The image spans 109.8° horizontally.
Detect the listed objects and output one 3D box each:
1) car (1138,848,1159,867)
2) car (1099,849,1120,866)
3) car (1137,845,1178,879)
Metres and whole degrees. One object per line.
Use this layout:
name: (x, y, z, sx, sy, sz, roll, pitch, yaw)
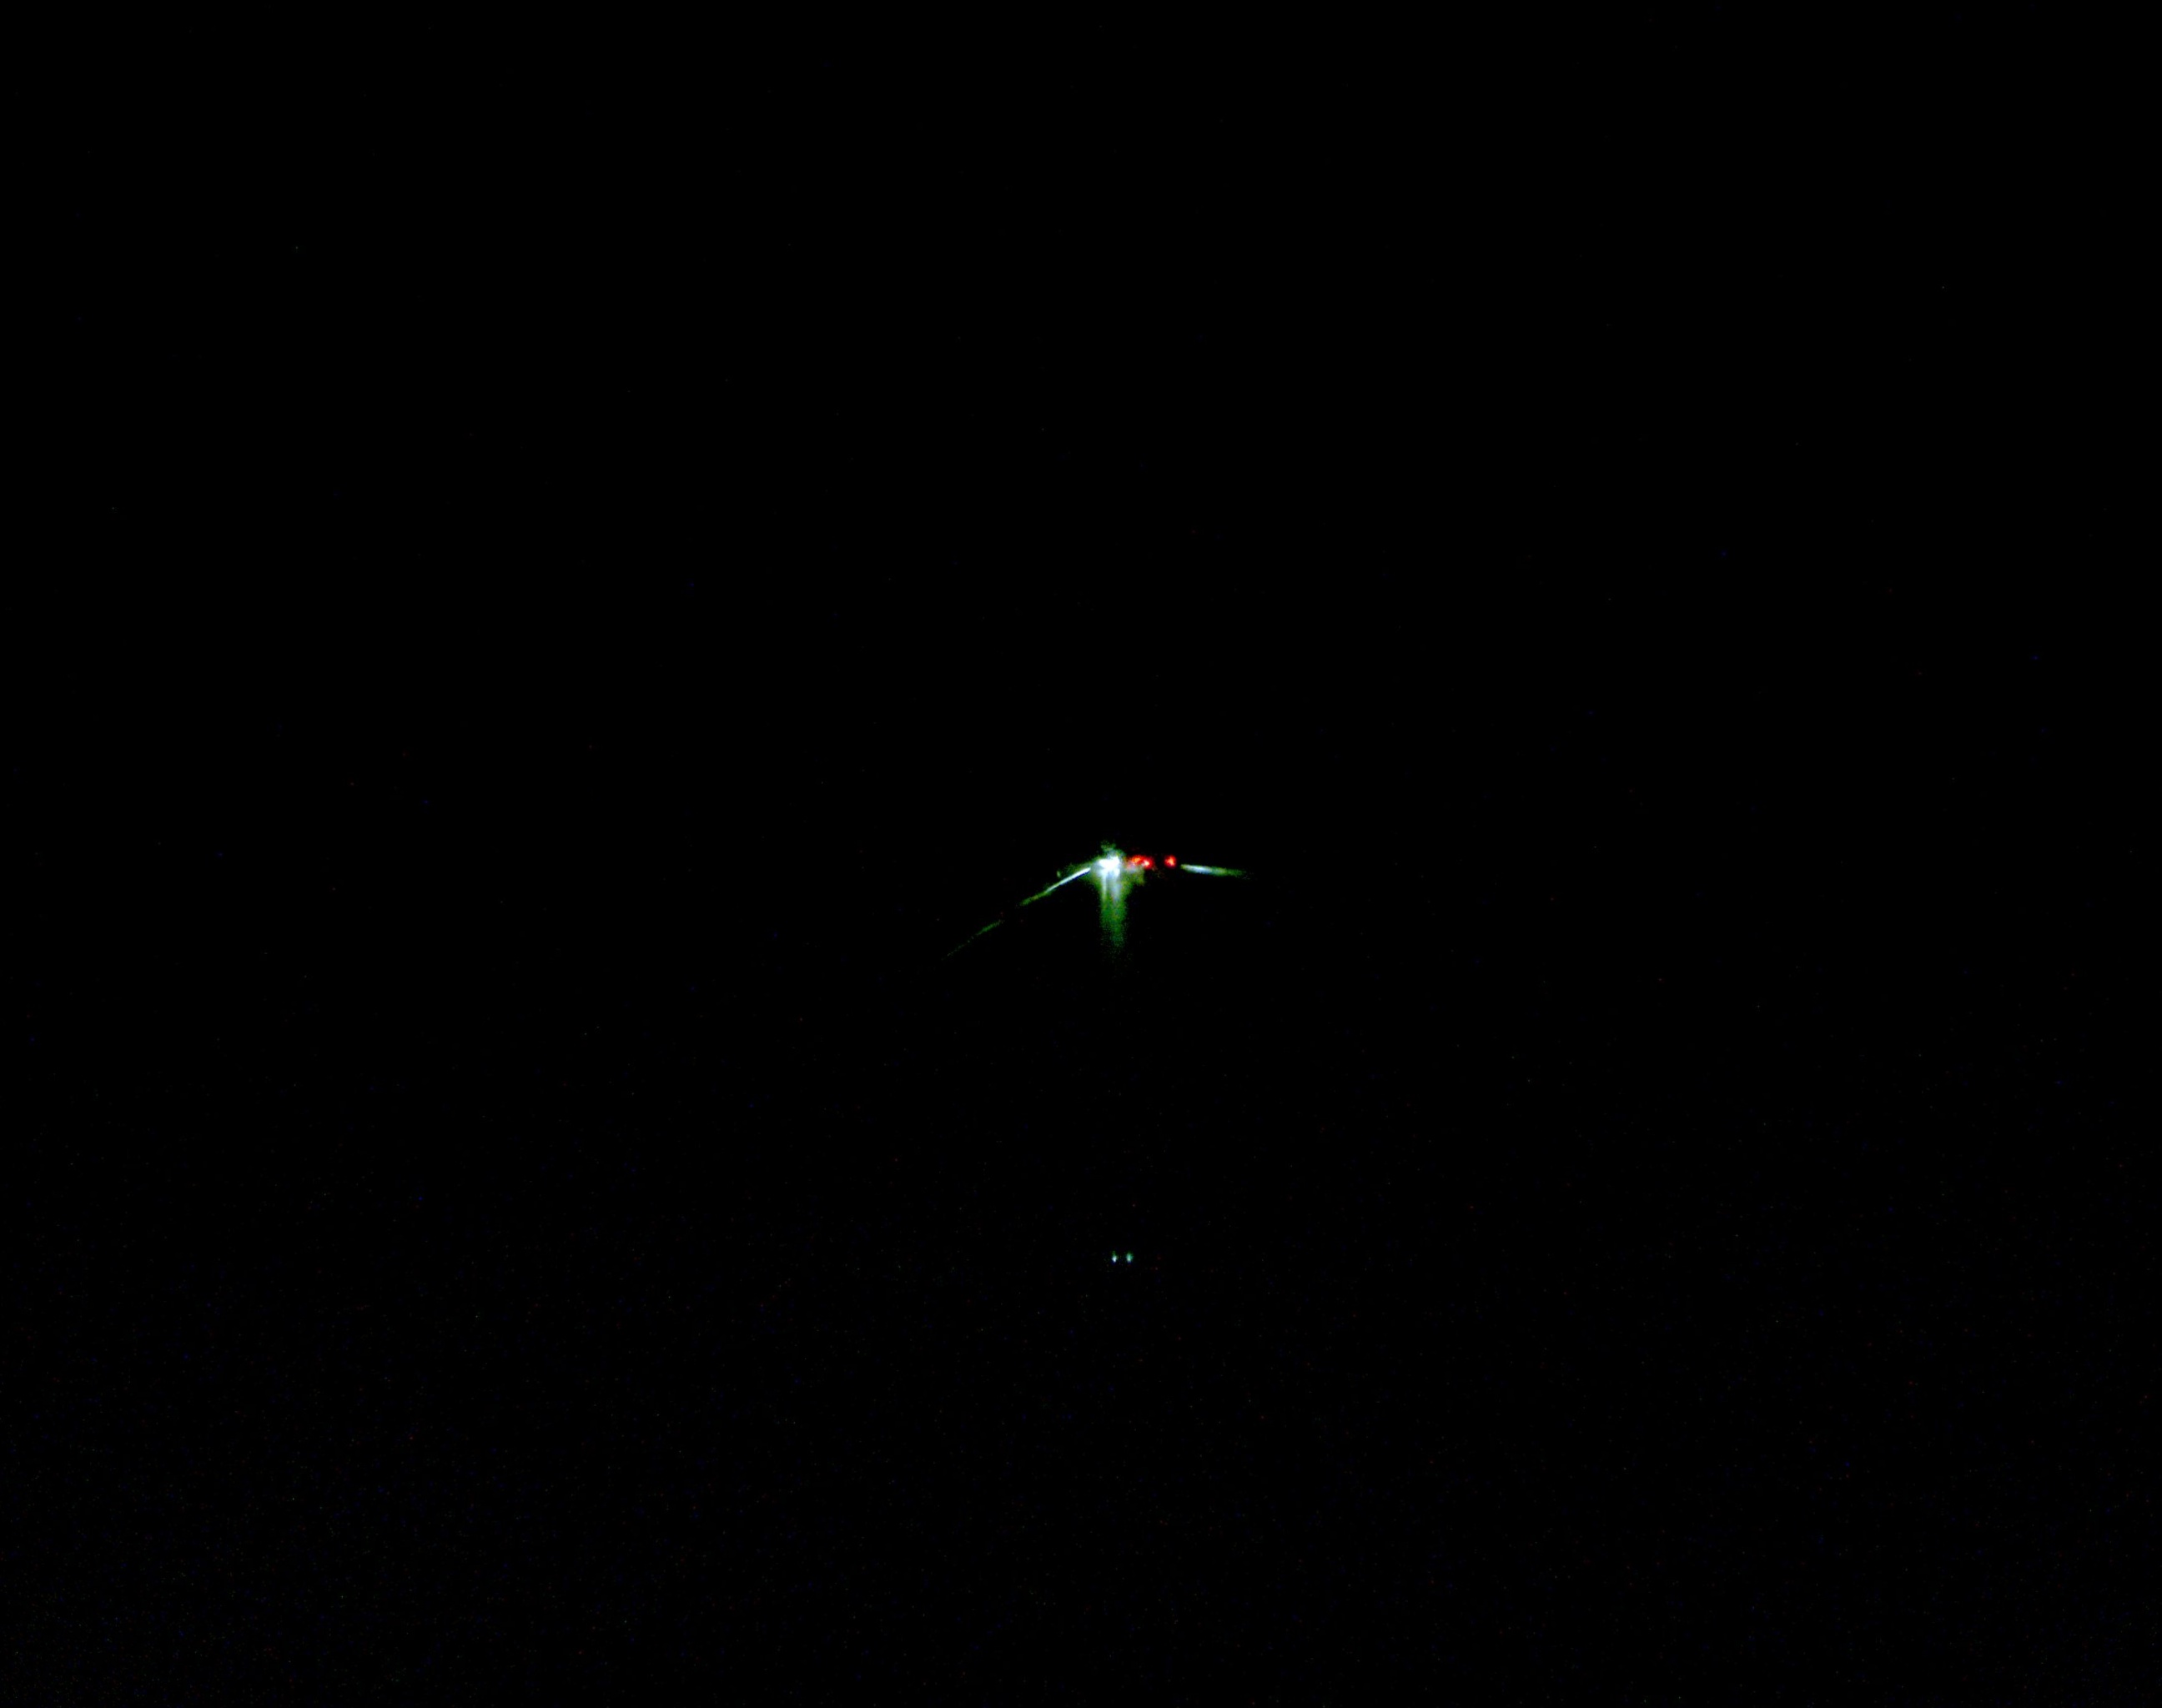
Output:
car: (6.431, 0.340, 72.610, 1.775, 1.665, 4.055, -3, 1, 4)
car: (3.158, 0.359, 82.118, 1.998, 1.724, 4.001, -1, 0, 5)
car: (4.445, 0.431, 44.680, 1.998, 1.812, 4.000, -3, 1, 2)
